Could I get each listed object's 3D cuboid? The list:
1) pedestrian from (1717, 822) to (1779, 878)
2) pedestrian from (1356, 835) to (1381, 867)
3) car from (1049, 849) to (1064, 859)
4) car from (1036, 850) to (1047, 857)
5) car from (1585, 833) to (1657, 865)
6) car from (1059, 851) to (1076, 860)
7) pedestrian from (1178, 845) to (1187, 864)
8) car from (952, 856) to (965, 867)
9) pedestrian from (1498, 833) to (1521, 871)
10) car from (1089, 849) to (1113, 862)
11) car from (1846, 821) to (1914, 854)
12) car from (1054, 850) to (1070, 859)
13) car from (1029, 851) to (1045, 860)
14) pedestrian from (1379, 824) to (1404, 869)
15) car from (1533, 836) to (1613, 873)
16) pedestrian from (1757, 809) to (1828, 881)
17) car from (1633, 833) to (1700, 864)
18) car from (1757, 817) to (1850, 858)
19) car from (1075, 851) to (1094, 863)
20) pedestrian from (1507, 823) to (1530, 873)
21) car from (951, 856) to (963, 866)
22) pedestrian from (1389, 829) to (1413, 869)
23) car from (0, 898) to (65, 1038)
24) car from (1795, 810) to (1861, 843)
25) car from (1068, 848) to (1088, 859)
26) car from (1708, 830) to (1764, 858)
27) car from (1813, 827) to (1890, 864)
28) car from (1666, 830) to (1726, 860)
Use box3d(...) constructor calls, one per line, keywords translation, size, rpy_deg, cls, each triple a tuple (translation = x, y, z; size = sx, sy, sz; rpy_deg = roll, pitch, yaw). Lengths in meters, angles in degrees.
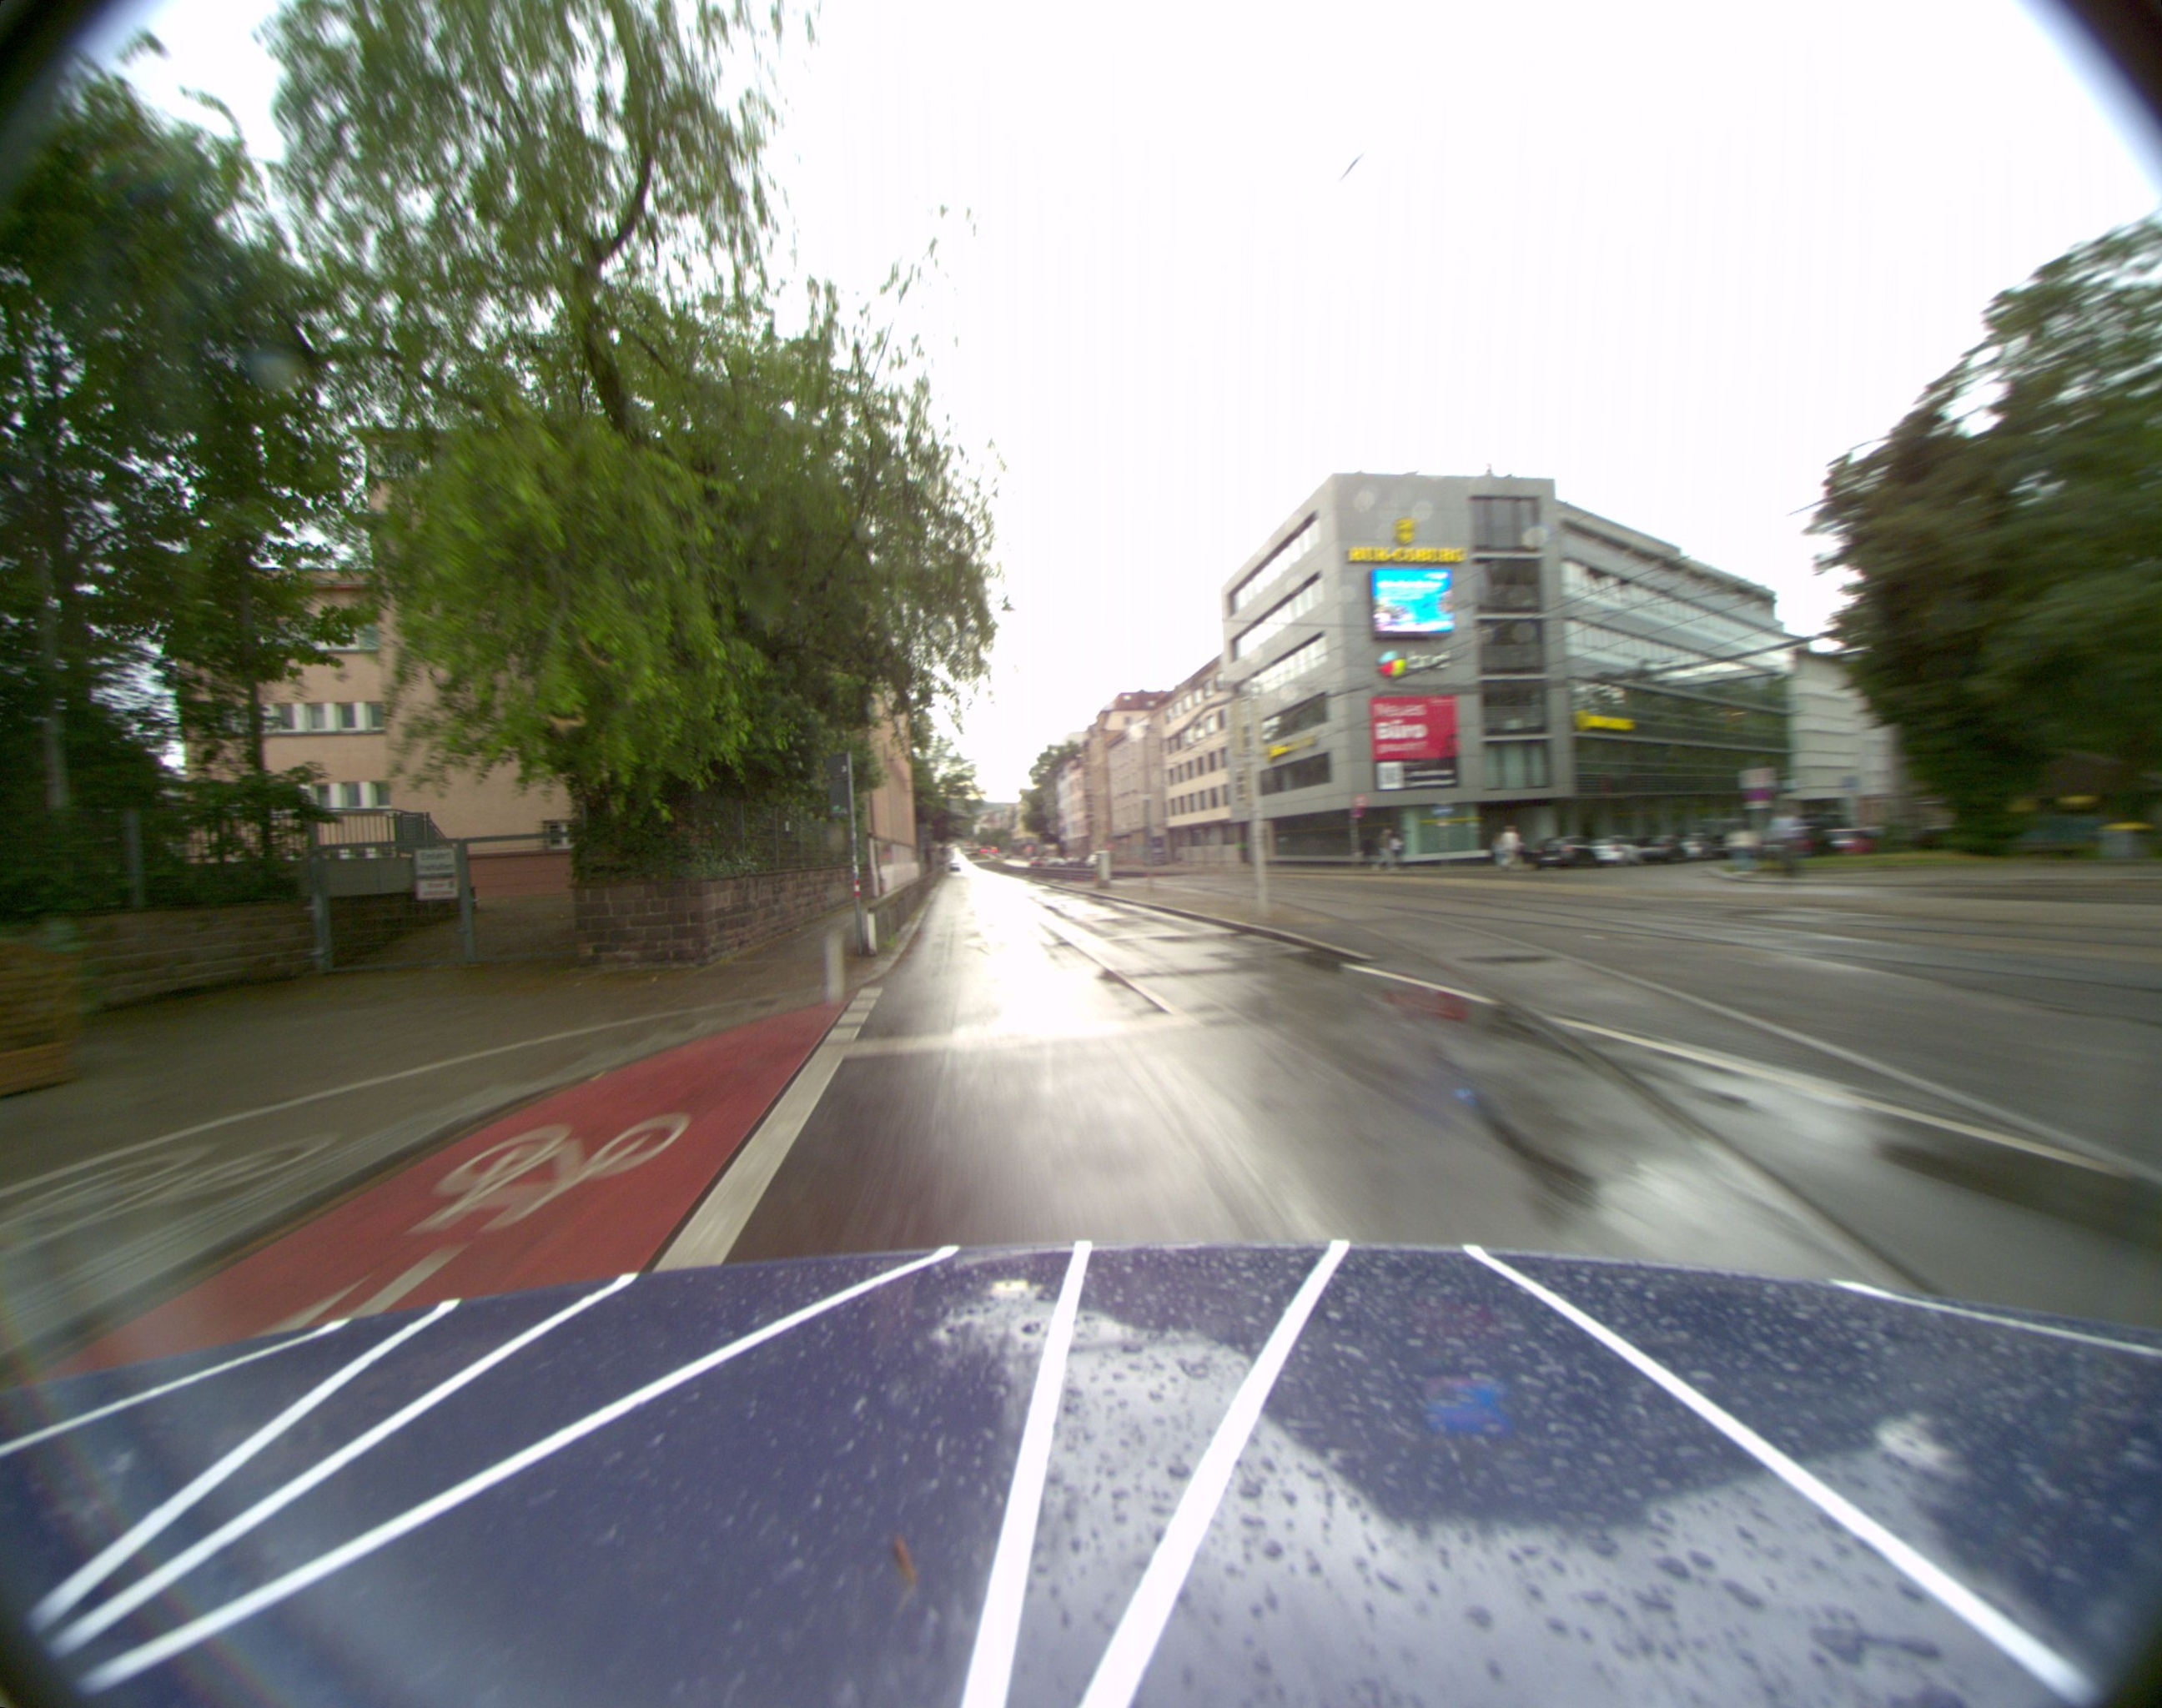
box3d(translation=(20.016, -0.135, 22.821), size=(0.912, 1.585, 1.003), rpy_deg=(-4, 2, 5), cls="pedestrian")
box3d(translation=(14.710, -0.163, 38.861), size=(0.966, 1.585, 0.588), rpy_deg=(-5, 2, -7), cls="pedestrian")
box3d(translation=(-4.202, 0.040, 128.314), size=(1.844, 1.596, 4.224), rpy_deg=(-1, 0, -10), cls="car")
box3d(translation=(-8.104, -0.086, 156.269), size=(1.844, 1.532, 4.224), rpy_deg=(-1, 0, -8), cls="car")
box3d(translation=(25.904, -0.250, 36.412), size=(3.748, 1.446, 1.698), rpy_deg=(-2, 1, -36), cls="car")
box3d(translation=(-2.126, 0.189, 117.121), size=(2.000, 1.389, 5.018), rpy_deg=(0, 0, -9), cls="car")
box3d(translation=(9.077, 0.043, 67.999), size=(0.548, 1.603, 0.798), rpy_deg=(-6, 2, -7), cls="pedestrian")
box3d(translation=(-18.277, 1.126, 113.152), size=(1.789, 1.521, 4.240), rpy_deg=(-3, 1, -11), cls="car")
box3d(translation=(18.400, -0.099, 32.666), size=(0.588, 1.585, 0.636), rpy_deg=(-4, 2, 8), cls="pedestrian")
box3d(translation=(2.330, 0.197, 89.604), size=(2.000, 1.527, 4.745), rpy_deg=(0, 0, -10), cls="car")
box3d(translation=(37.245, -0.778, 35.397), size=(3.546, 1.440, 1.698), rpy_deg=(-2, 1, -35), cls="car")
box3d(translation=(-3.077, 0.025, 122.236), size=(1.844, 1.389, 4.262), rpy_deg=(-1, 0, -10), cls="car")
box3d(translation=(-7.474, 0.192, 128.047), size=(1.946, 1.527, 4.344), rpy_deg=(0, 0, -13), cls="car")
box3d(translation=(14.418, -0.347, 35.314), size=(0.663, 2.002, 0.810), rpy_deg=(-5, 2, -8), cls="pedestrian")
box3d(translation=(22.272, 0.014, 34.362), size=(3.748, 1.542, 1.698), rpy_deg=(-2, 1, -34), cls="car")
box3d(translation=(19.260, -0.240, 20.589), size=(0.913, 1.852, 1.002), rpy_deg=(-5, 2, -10), cls="pedestrian")
box3d(translation=(29.606, -0.287, 38.392), size=(3.748, 1.446, 1.698), rpy_deg=(-2, 1, -36), cls="car")
box3d(translation=(27.576, -0.631, 28.979), size=(3.545, 1.440, 1.698), rpy_deg=(-2, 1, -31), cls="car")
box3d(translation=(0.433, 0.380, 101.300), size=(1.742, 1.447, 4.166), rpy_deg=(0, 0, -10), cls="car")
box3d(translation=(18.396, -0.250, 31.937), size=(0.615, 2.002, 0.664), rpy_deg=(-3, 3, 43), cls="pedestrian")
box3d(translation=(-19.376, 1.102, 118.679), size=(1.761, 1.521, 4.329), rpy_deg=(-3, 1, -11), cls="car")
box3d(translation=(15.130, -0.251, 35.933), size=(0.662, 1.805, 0.973), rpy_deg=(-4, 2, 6), cls="pedestrian")
box3d(translation=(-13.422, 1.316, 7.793), size=(3.195, 1.498, 1.799), rpy_deg=(-2, 1, -8), cls="car")
box3d(translation=(53.135, -1.926, 53.993), size=(5.077, 2.208, 2.327), rpy_deg=(-2, 1, -33), cls="car")
box3d(translation=(-0.440, -0.114, 106.758), size=(2.000, 1.447, 5.017), rpy_deg=(0, 0, -10), cls="car")
box3d(translation=(37.645, -0.571, 43.657), size=(3.546, 1.546, 1.698), rpy_deg=(-2, 1, -36), cls="car")
box3d(translation=(32.452, -0.361, 31.981), size=(3.546, 1.440, 1.698), rpy_deg=(-2, 1, -35), cls="car")
box3d(translation=(33.784, -0.501, 41.687), size=(3.546, 1.546, 1.698), rpy_deg=(-2, 1, -36), cls="car")
